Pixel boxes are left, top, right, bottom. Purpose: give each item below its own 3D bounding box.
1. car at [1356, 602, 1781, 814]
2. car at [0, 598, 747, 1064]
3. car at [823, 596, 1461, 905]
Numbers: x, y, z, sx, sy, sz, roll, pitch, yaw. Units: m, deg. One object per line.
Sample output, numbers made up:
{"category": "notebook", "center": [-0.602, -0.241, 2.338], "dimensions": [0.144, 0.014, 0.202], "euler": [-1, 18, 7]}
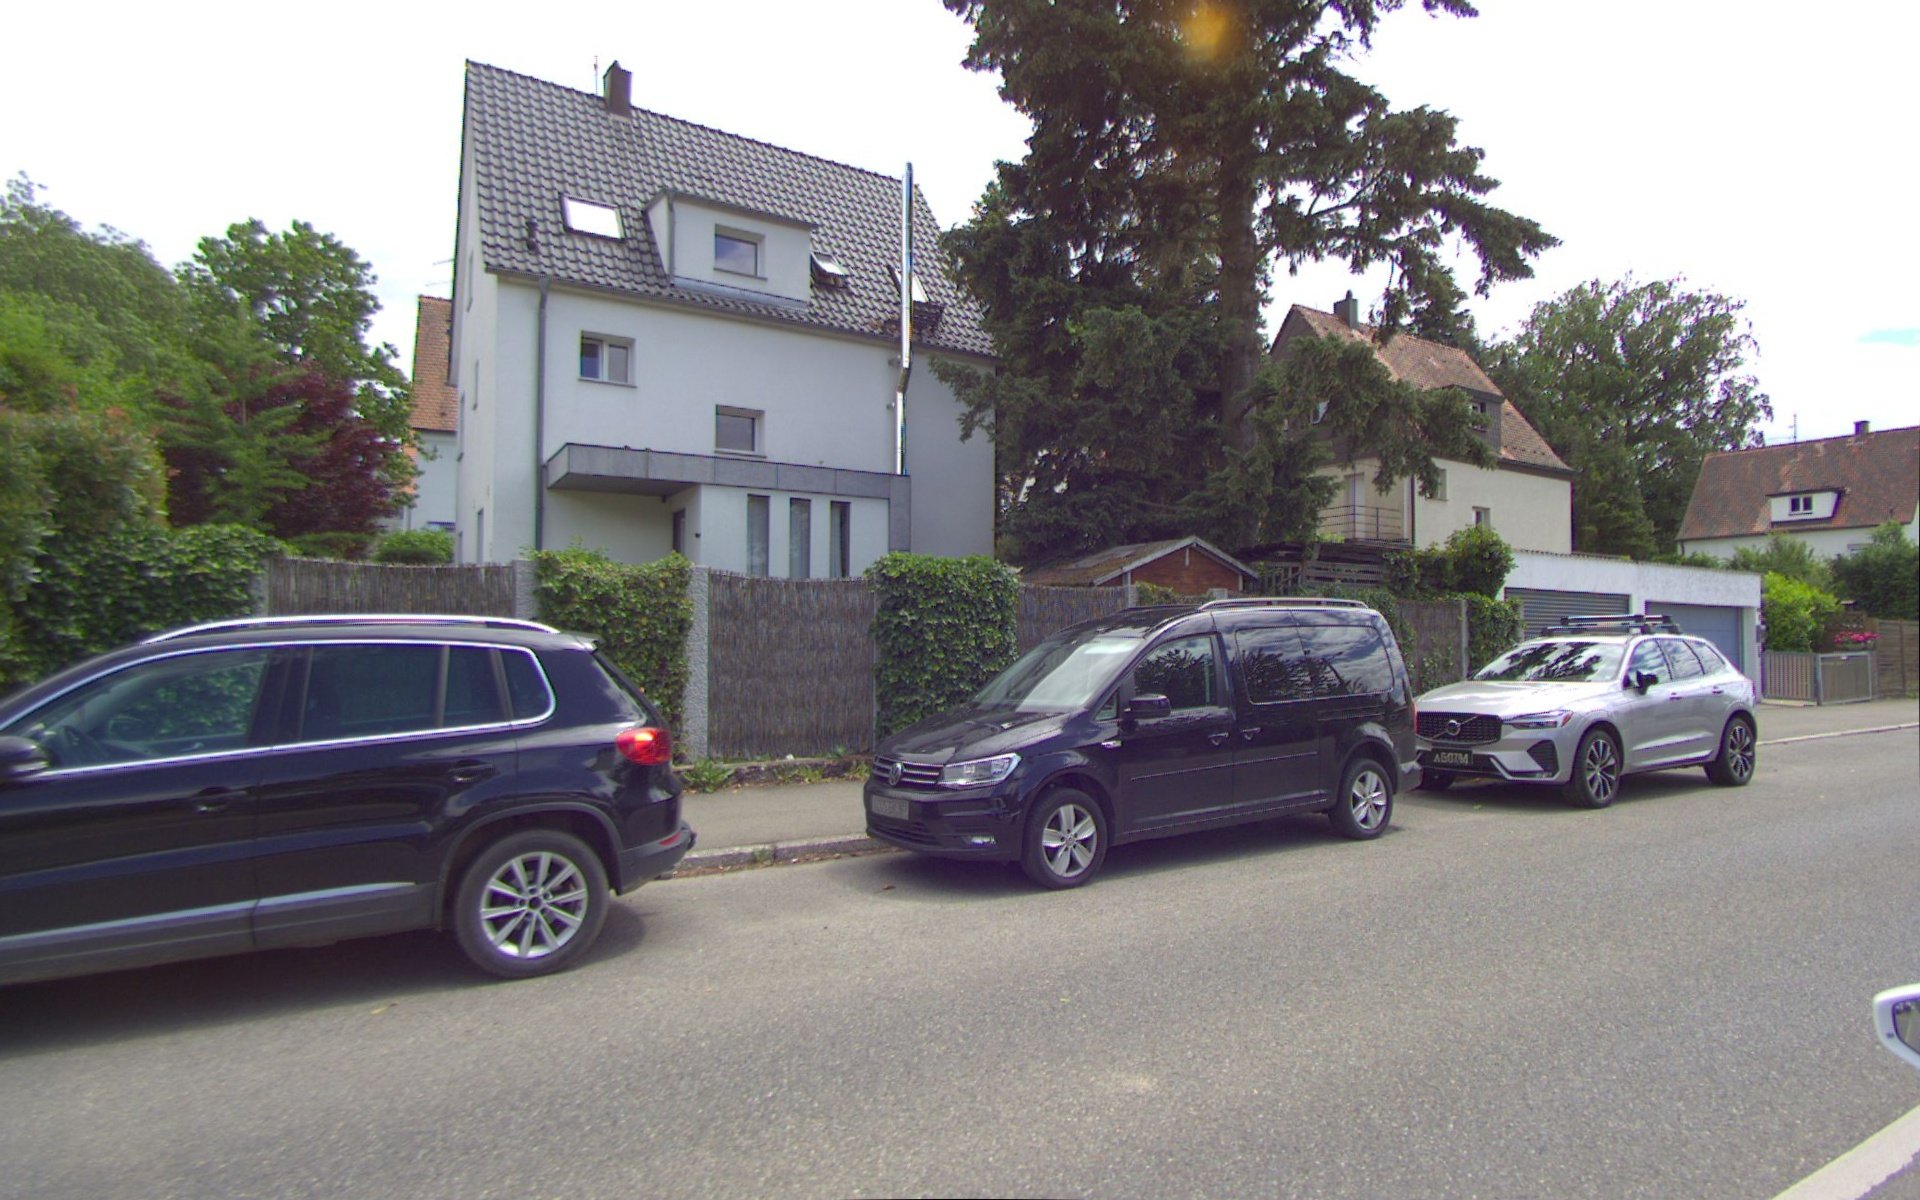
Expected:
{"category": "car", "center": [6.632, 1.000, 10.837], "dimensions": [4.653, 1.843, 1.975], "euler": [1, -2, -31]}
{"category": "car", "center": [-3.445, 0.903, 4.686], "dimensions": [4.530, 1.700, 1.619], "euler": [1, -4, -31]}
{"category": "car", "center": [1.564, 0.918, 7.934], "dimensions": [4.828, 1.778, 2.056], "euler": [1, -1, -32]}
